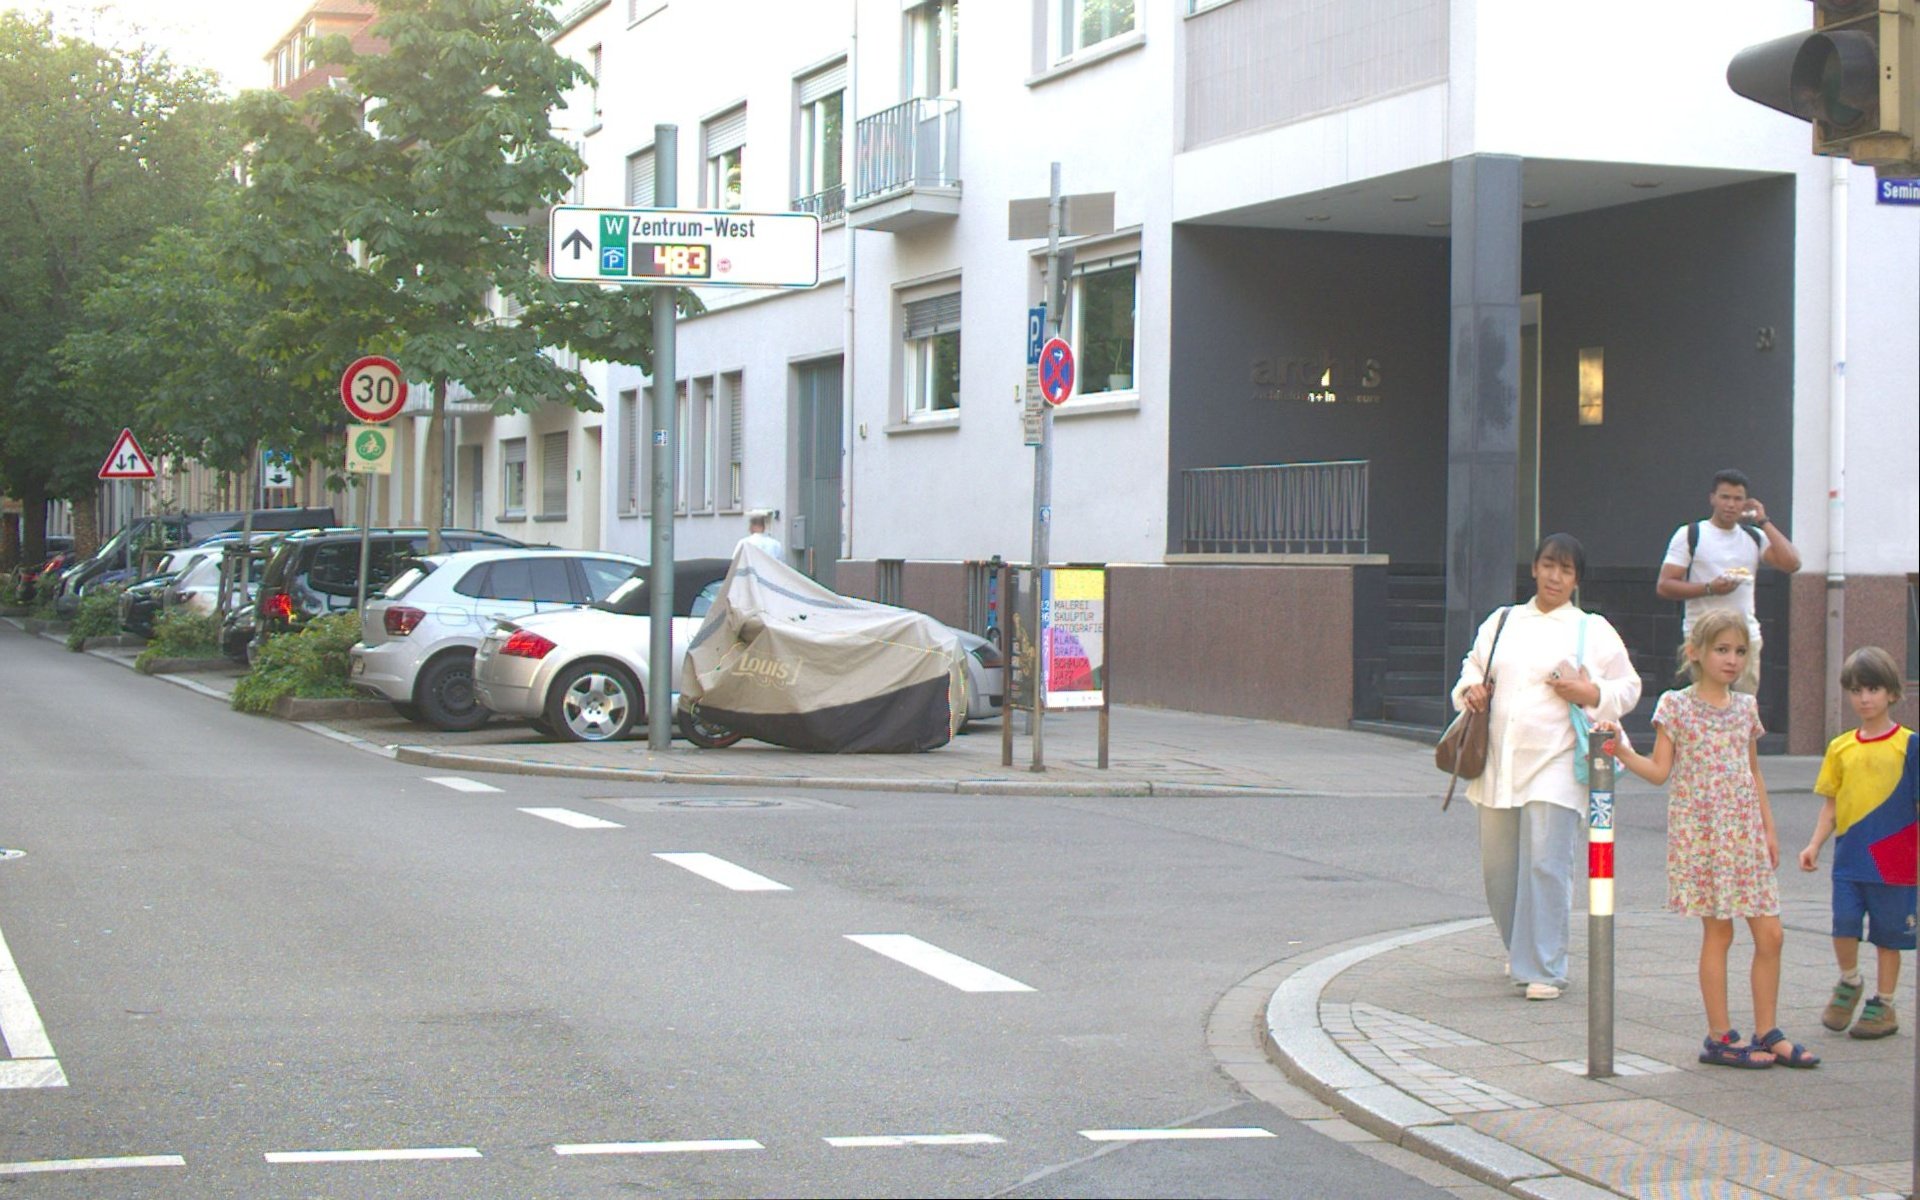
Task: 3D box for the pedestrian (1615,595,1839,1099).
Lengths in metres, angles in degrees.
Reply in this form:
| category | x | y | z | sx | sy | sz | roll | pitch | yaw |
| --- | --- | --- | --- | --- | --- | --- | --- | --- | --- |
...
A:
| category | x | y | z | sx | sy | sz | roll | pitch | yaw |
| --- | --- | --- | --- | --- | --- | --- | --- | --- | --- |
| pedestrian | 2.105 | 0.662 | 9.479 | 0.505 | 1.331 | 0.541 | 1 | 1 | 5 |

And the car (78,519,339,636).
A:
| category | x | y | z | sx | sy | sz | roll | pitch | yaw |
| --- | --- | --- | --- | --- | --- | --- | --- | --- | --- |
| car | -12.394 | -0.373 | 56.671 | 4.013 | 1.824 | 1.707 | 1 | 1 | -18 |

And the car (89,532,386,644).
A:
| category | x | y | z | sx | sy | sz | roll | pitch | yaw |
| --- | --- | --- | --- | --- | --- | --- | --- | --- | --- |
| car | -10.443 | -0.172 | 49.647 | 4.013 | 1.525 | 1.707 | 1 | 1 | -18 |

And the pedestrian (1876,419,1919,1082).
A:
| category | x | y | z | sx | sy | sz | roll | pitch | yaw |
| --- | --- | --- | --- | --- | --- | --- | --- | --- | --- |
| pedestrian | 3.053 | 0.401 | 9.644 | 0.889 | 1.809 | 0.793 | 1 | 3 | 16 |

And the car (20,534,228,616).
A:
| category | x | y | z | sx | sy | sz | roll | pitch | yaw |
| --- | --- | --- | --- | --- | --- | --- | --- | --- | --- |
| car | -17.236 | -0.517 | 70.869 | 4.013 | 1.596 | 1.707 | 1 | 1 | -18 |

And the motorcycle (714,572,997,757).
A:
| category | x | y | z | sx | sy | sz | roll | pitch | yaw |
| --- | --- | --- | --- | --- | --- | --- | --- | --- | --- |
| motorcycle | -0.696 | 0.417 | 22.674 | 1.799 | 1.195 | 0.613 | 0 | 1 | -9 |

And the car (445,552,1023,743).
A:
| category | x | y | z | sx | sy | sz | roll | pitch | yaw |
| --- | --- | --- | --- | --- | --- | --- | --- | --- | --- |
| car | -1.708 | 0.325 | 25.687 | 4.013 | 1.338 | 1.707 | 0 | 1 | -18 |

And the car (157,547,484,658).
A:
| category | x | y | z | sx | sy | sz | roll | pitch | yaw |
| --- | --- | --- | --- | --- | --- | --- | --- | --- | --- |
| car | -8.360 | 0.019 | 44.897 | 4.013 | 1.404 | 1.707 | 0 | 1 | -18 |

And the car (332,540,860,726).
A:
| category | x | y | z | sx | sy | sz | roll | pitch | yaw |
| --- | --- | --- | --- | --- | --- | --- | --- | --- | --- |
| car | -2.987 | 0.244 | 28.050 | 4.013 | 1.437 | 1.707 | 0 | 1 | -18 |

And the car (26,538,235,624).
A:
| category | x | y | z | sx | sy | sz | roll | pitch | yaw |
| --- | --- | --- | --- | --- | --- | --- | --- | --- | --- |
| car | -16.656 | -0.386 | 69.177 | 3.977 | 1.572 | 1.911 | 2 | 0 | -12 |

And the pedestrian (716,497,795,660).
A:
| category | x | y | z | sx | sy | sz | roll | pitch | yaw |
| --- | --- | --- | --- | --- | --- | --- | --- | --- | --- |
| pedestrian | -2.233 | -0.241 | 37.513 | 0.703 | 1.746 | 0.700 | 1 | 1 | -14 |

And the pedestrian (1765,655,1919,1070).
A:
| category | x | y | z | sx | sy | sz | roll | pitch | yaw |
| --- | --- | --- | --- | --- | --- | --- | --- | --- | --- |
| pedestrian | 2.652 | 0.741 | 10.027 | 0.565 | 1.117 | 0.837 | 0 | 2 | 12 |

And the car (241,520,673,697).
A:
| category | x | y | z | sx | sy | sz | roll | pitch | yaw |
| --- | --- | --- | --- | --- | --- | --- | --- | --- | --- |
| car | -5.006 | 0.068 | 34.129 | 4.013 | 1.684 | 1.707 | 0 | 1 | -18 |

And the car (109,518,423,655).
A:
| category | x | y | z | sx | sy | sz | roll | pitch | yaw |
| --- | --- | --- | --- | --- | --- | --- | --- | --- | --- |
| car | -9.464 | -0.193 | 46.828 | 4.013 | 1.809 | 1.707 | 0 | 1 | -18 |

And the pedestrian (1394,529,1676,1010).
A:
| category | x | y | z | sx | sy | sz | roll | pitch | yaw |
| --- | --- | --- | --- | --- | --- | --- | --- | --- | --- |
| pedestrian | 1.881 | 0.521 | 11.174 | 0.774 | 1.496 | 0.801 | 0 | 1 | 19 |

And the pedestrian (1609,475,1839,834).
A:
| category | x | y | z | sx | sy | sz | roll | pitch | yaw |
| --- | --- | --- | --- | --- | --- | --- | --- | --- | --- |
| pedestrian | 4.010 | 0.274 | 18.101 | 0.766 | 1.835 | 0.944 | 1 | 1 | -17 |
